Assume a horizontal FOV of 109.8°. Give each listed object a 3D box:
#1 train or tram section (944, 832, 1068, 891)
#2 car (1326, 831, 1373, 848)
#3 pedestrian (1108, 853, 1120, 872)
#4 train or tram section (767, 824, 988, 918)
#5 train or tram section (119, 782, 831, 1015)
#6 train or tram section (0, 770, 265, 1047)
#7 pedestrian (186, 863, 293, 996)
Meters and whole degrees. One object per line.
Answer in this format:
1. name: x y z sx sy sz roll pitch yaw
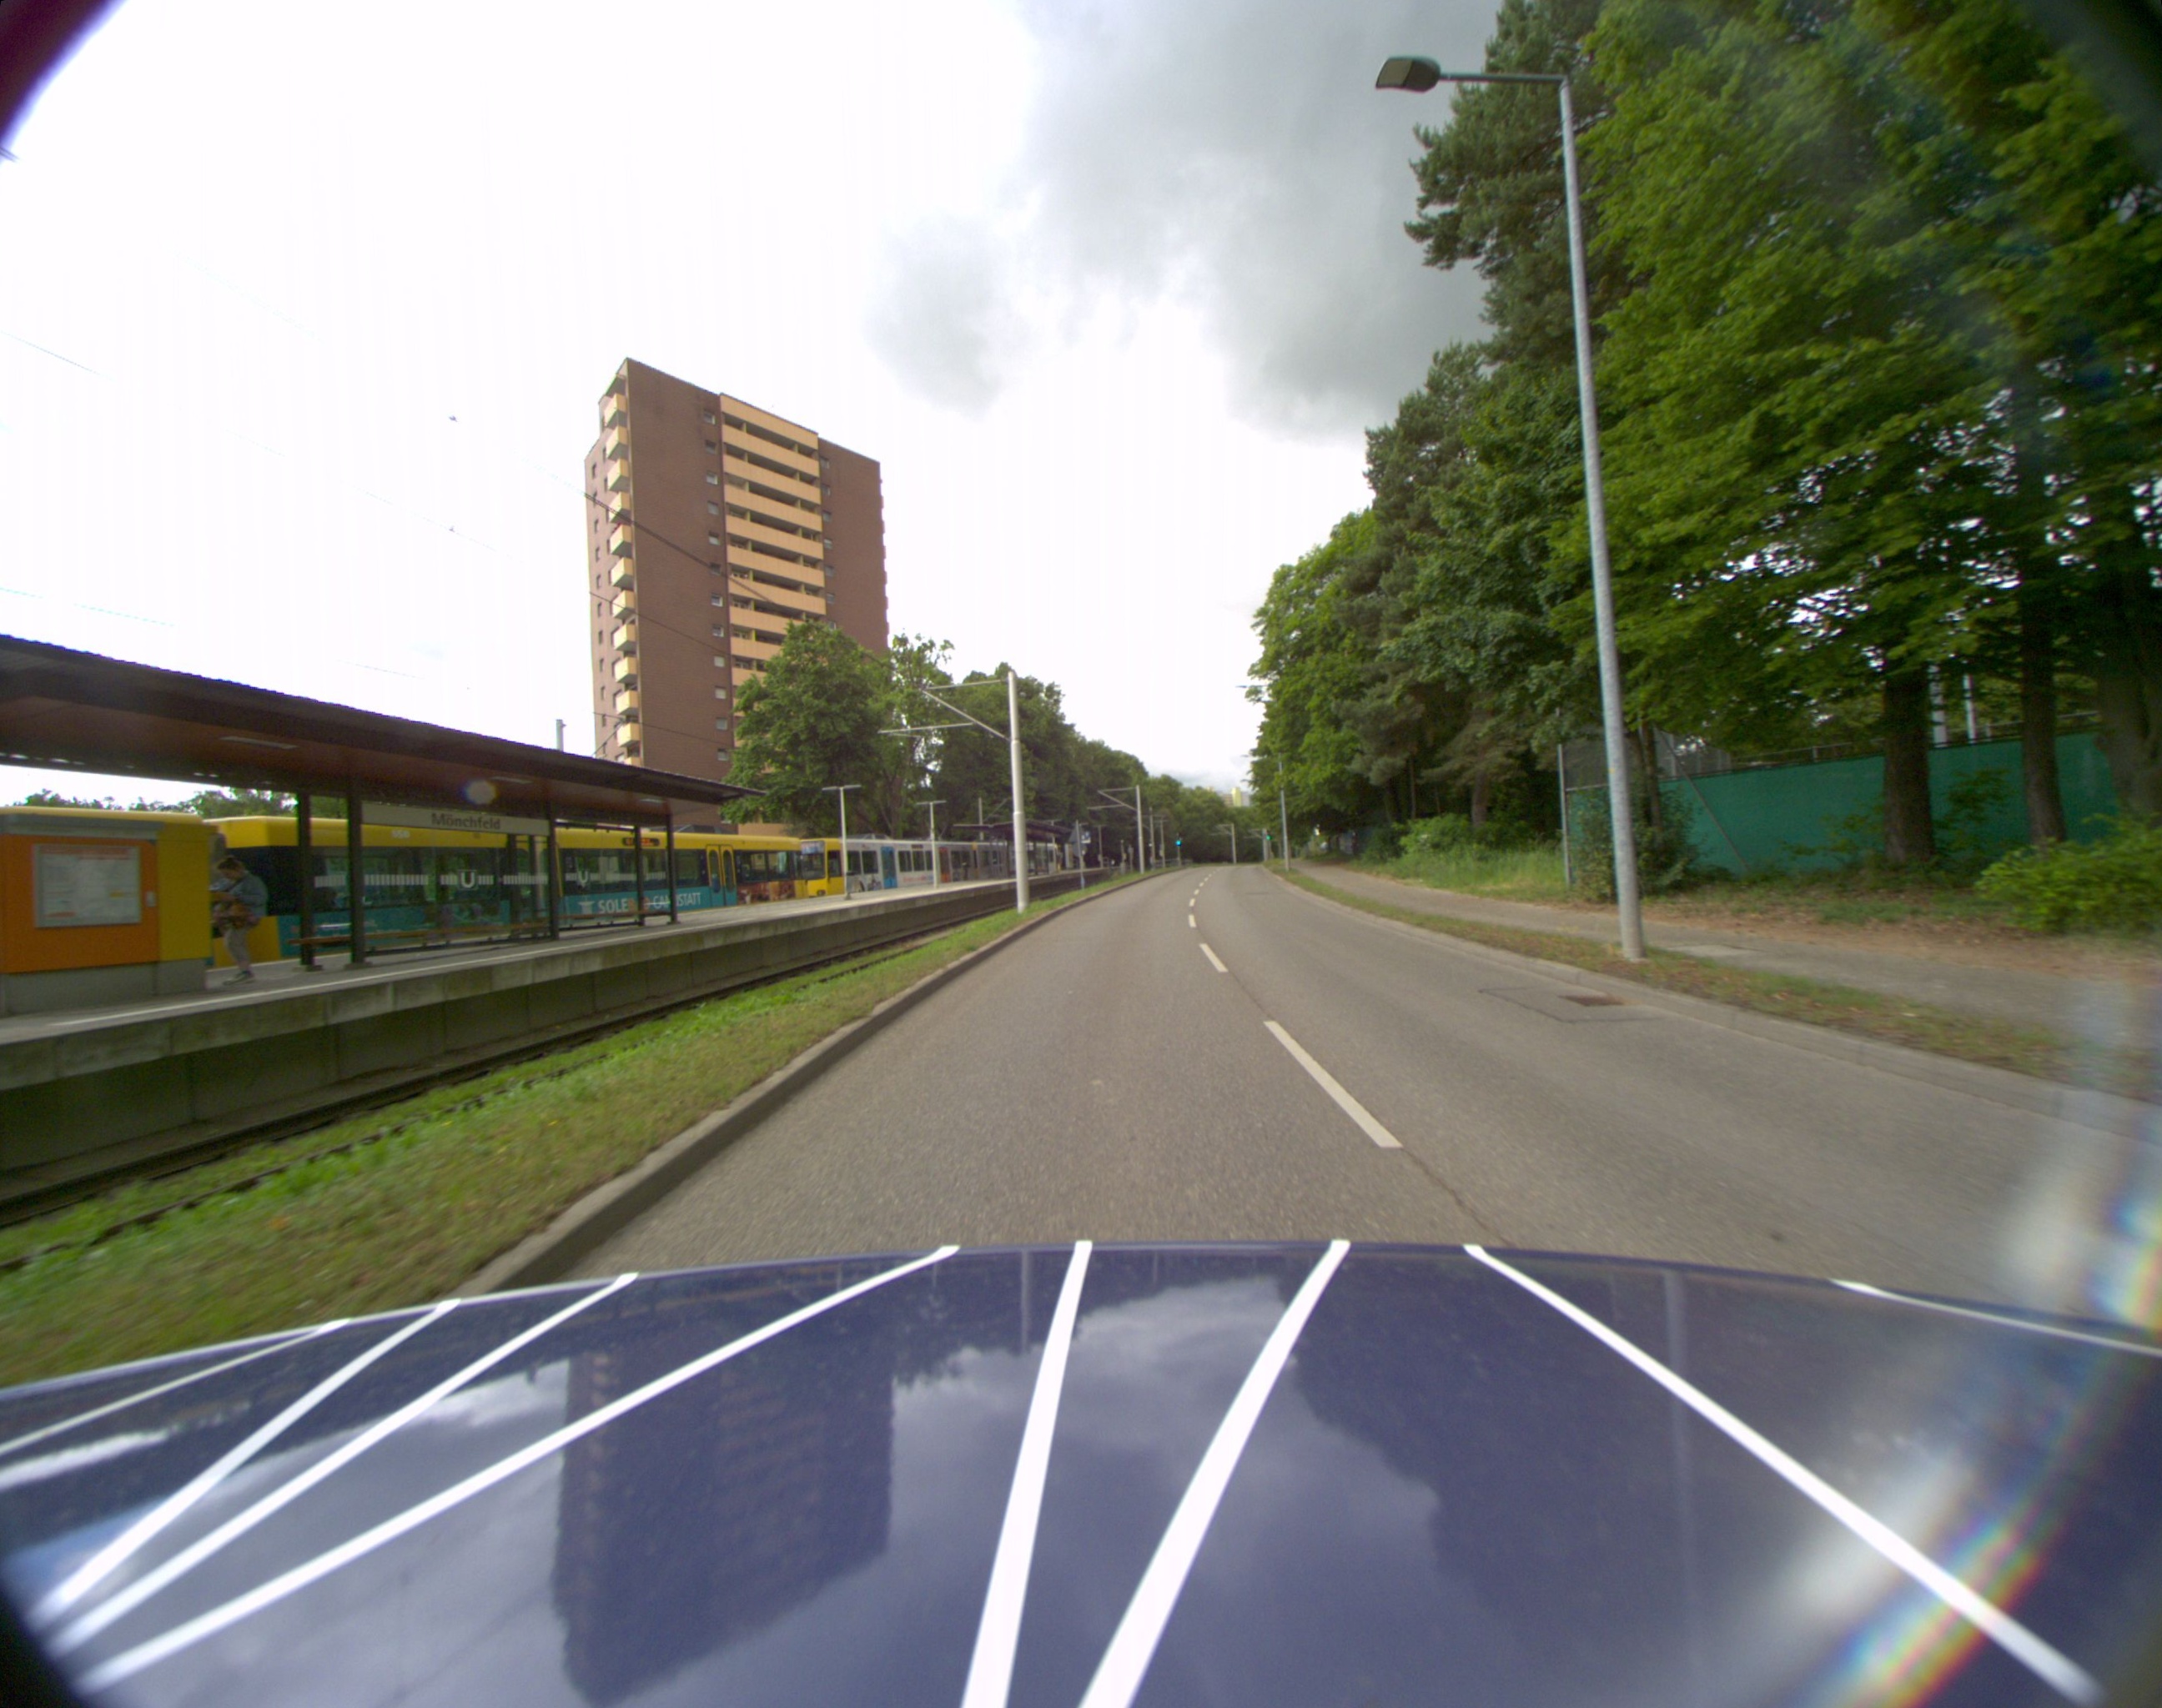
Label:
1. train or tram section: -5.207 0.415 59.786 2.817 3.714 18.552 -5 -1 16
2. car: 32.776 -1.741 92.744 5.162 1.552 1.889 -5 -2 22
3. pedestrian: 3.179 0.861 73.372 0.986 1.747 0.730 -5 -1 6
4. train or tram section: -9.795 0.664 41.400 2.818 3.776 18.950 -5 -1 13
5. train or tram section: -13.441 0.760 22.414 2.819 3.714 19.526 -5 -1 8
6. train or tram section: -16.243 0.798 3.004 2.819 3.567 19.525 -5 -1 7
7. pedestrian: -10.516 0.926 9.504 0.623 1.564 0.666 -3 1 25
